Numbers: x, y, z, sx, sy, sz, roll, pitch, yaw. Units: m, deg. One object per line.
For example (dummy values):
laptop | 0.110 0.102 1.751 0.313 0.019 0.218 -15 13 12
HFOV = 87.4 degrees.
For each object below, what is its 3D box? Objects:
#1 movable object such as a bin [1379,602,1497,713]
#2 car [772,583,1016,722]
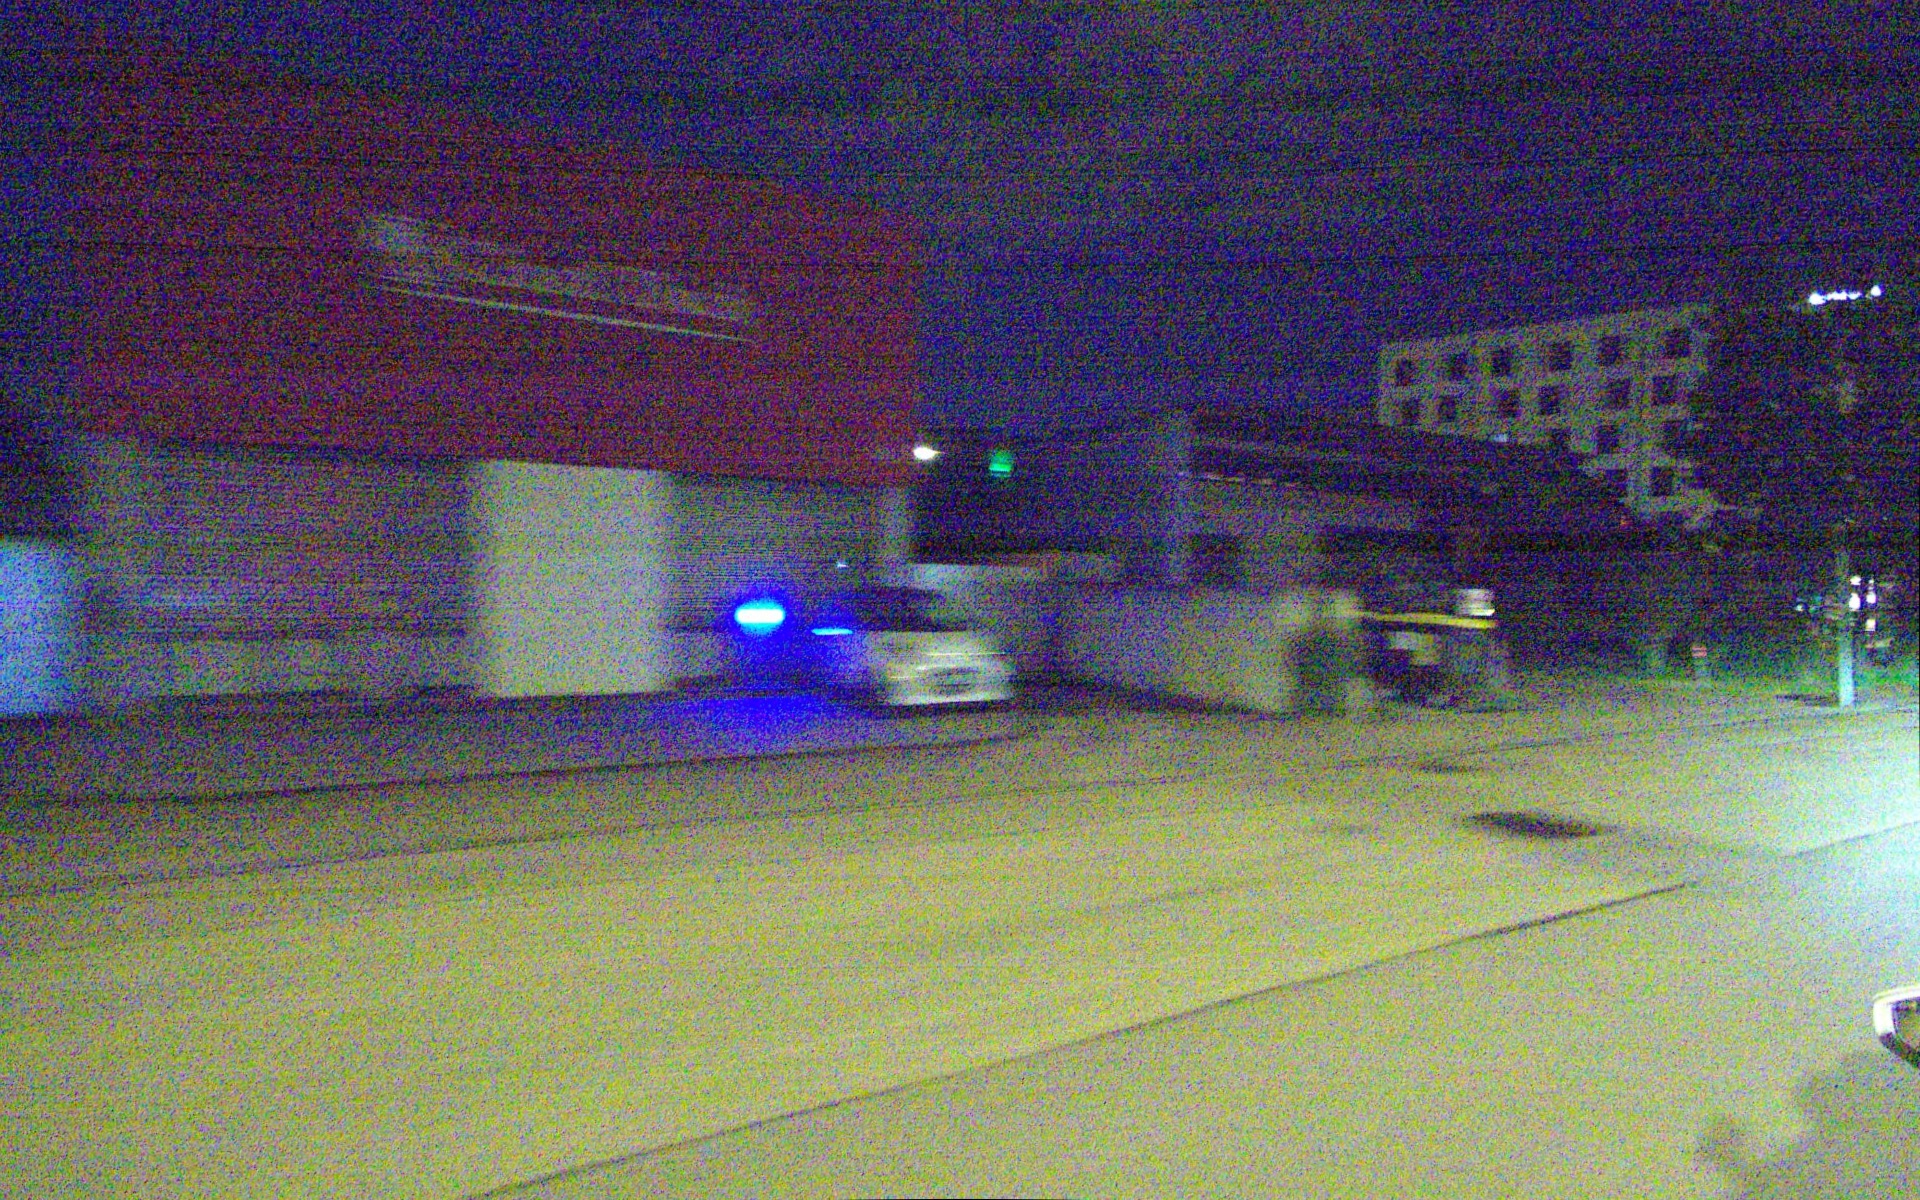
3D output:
movable object such as a bin | 6.900 0.794 14.528 1.054 1.516 1.158 1 0 -32
car | -1.058 0.635 13.737 1.795 1.592 3.969 1 -1 -29
